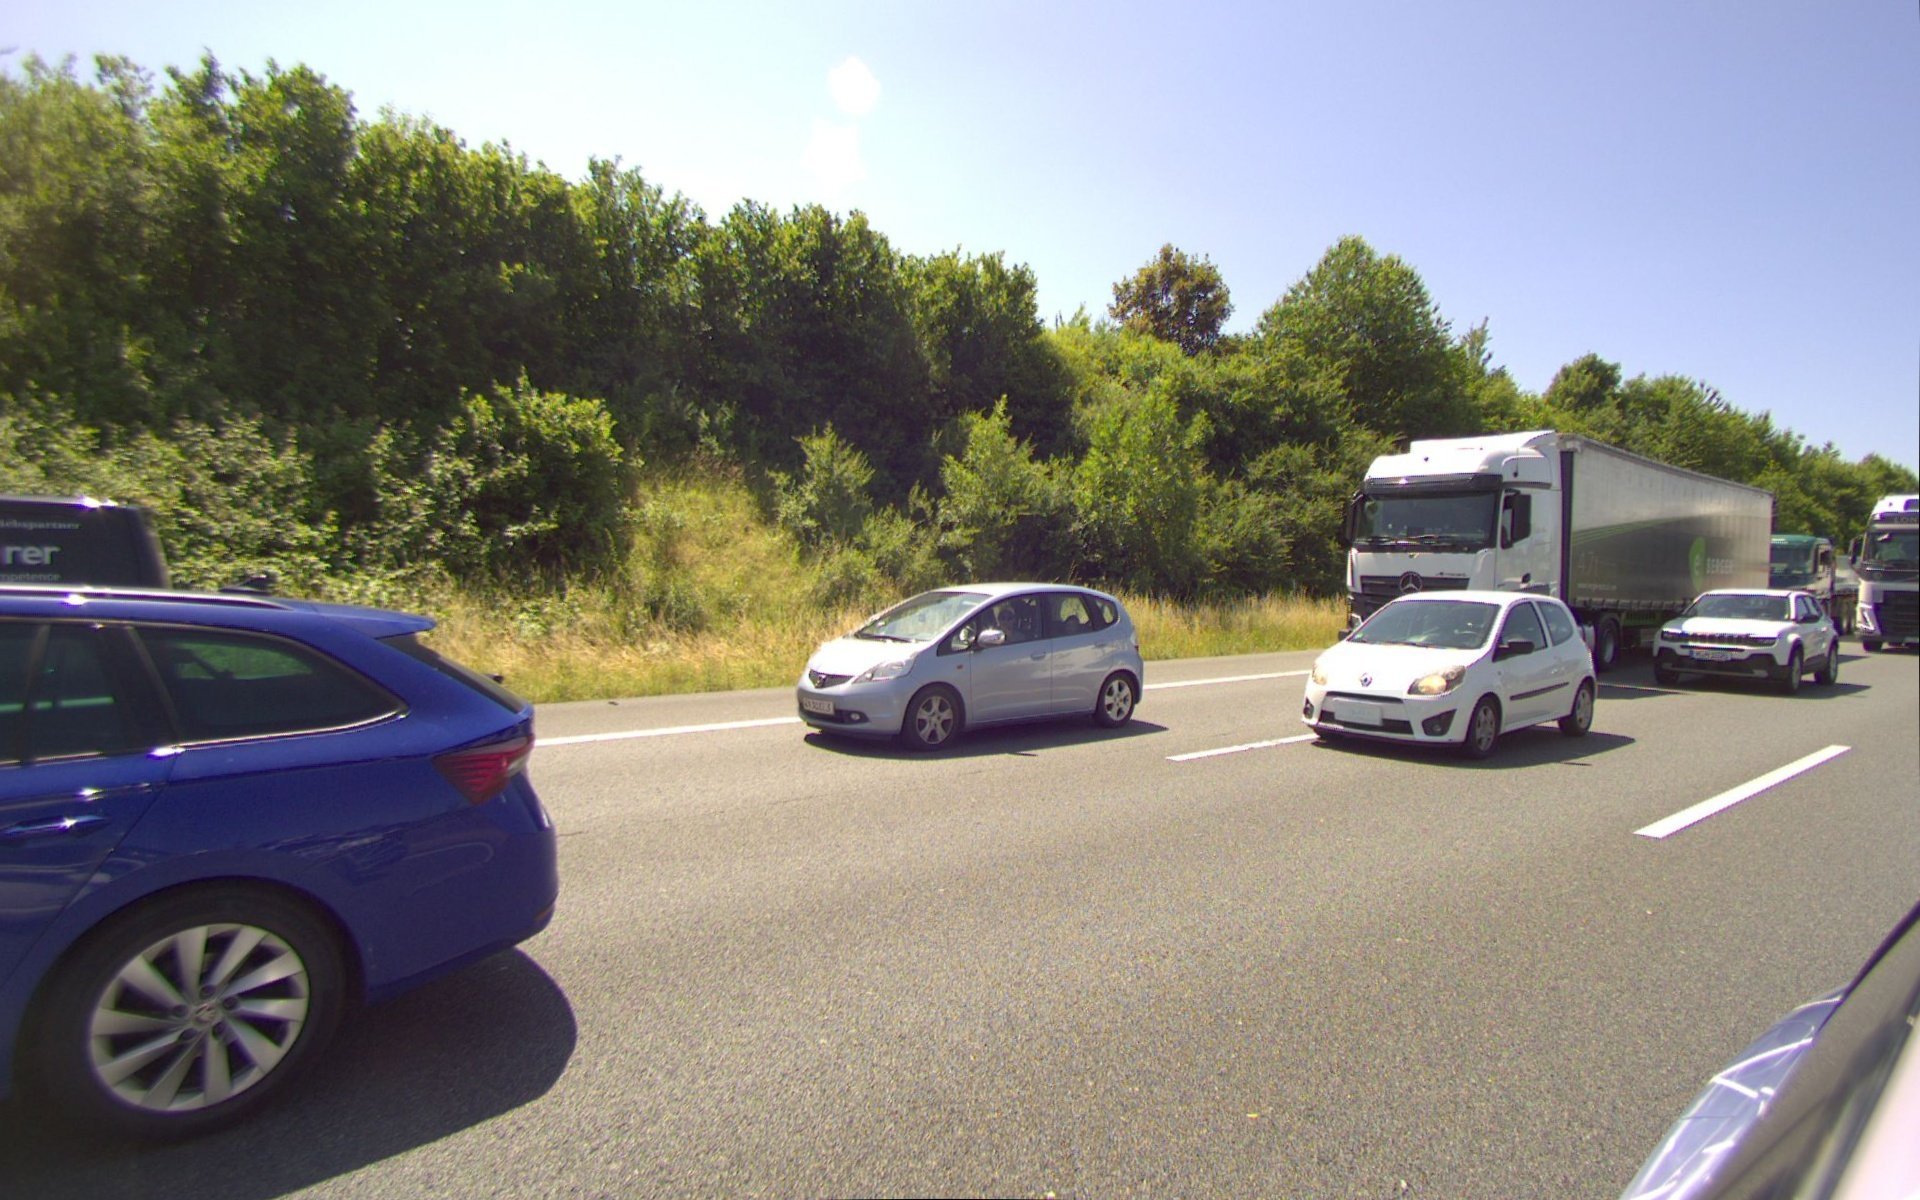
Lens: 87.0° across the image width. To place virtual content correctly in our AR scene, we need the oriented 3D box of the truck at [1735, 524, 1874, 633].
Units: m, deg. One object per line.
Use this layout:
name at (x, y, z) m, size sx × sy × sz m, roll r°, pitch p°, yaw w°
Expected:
truck at (26.908, -0.695, 32.177) m, size 5.572 × 3.185 × 2.300 m, roll -1°, pitch 1°, yaw -38°

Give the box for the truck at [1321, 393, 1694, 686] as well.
truck at (10.149, -0.942, 18.273) m, size 8.321 × 4.208 × 2.880 m, roll -1°, pitch 1°, yaw -38°

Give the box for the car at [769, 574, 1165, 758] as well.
car at (0.185, 0.517, 10.257) m, size 3.853 × 1.479 × 1.666 m, roll -1°, pitch 3°, yaw -40°

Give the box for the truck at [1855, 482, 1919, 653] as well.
truck at (26.059, -0.822, 26.321) m, size 8.209 × 4.044 × 2.750 m, roll -1°, pitch 1°, yaw -38°

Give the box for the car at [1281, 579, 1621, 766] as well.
car at (4.963, 0.551, 10.037) m, size 3.742 × 1.451 × 1.609 m, roll -1°, pitch 3°, yaw -40°

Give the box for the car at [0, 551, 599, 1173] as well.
car at (-3.437, 0.598, 2.485) m, size 4.492 × 1.434 × 1.780 m, roll -1°, pitch 3°, yaw -40°

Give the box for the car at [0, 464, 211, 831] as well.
car at (-6.879, 0.254, 5.219) m, size 4.769 × 1.964 × 1.918 m, roll -1°, pitch 2°, yaw -39°

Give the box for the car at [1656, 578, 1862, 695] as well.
car at (12.736, 0.474, 16.073) m, size 3.815 × 1.577 × 1.748 m, roll -1°, pitch 3°, yaw -39°

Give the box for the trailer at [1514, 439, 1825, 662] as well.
trailer at (17.160, -1.032, 23.921) m, size 11.859 × 4.208 × 2.880 m, roll -1°, pitch 1°, yaw -39°

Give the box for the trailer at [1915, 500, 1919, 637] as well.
trailer at (32.460, -0.941, 31.437) m, size 8.990 × 4.023 × 2.776 m, roll -1°, pitch 1°, yaw -38°
